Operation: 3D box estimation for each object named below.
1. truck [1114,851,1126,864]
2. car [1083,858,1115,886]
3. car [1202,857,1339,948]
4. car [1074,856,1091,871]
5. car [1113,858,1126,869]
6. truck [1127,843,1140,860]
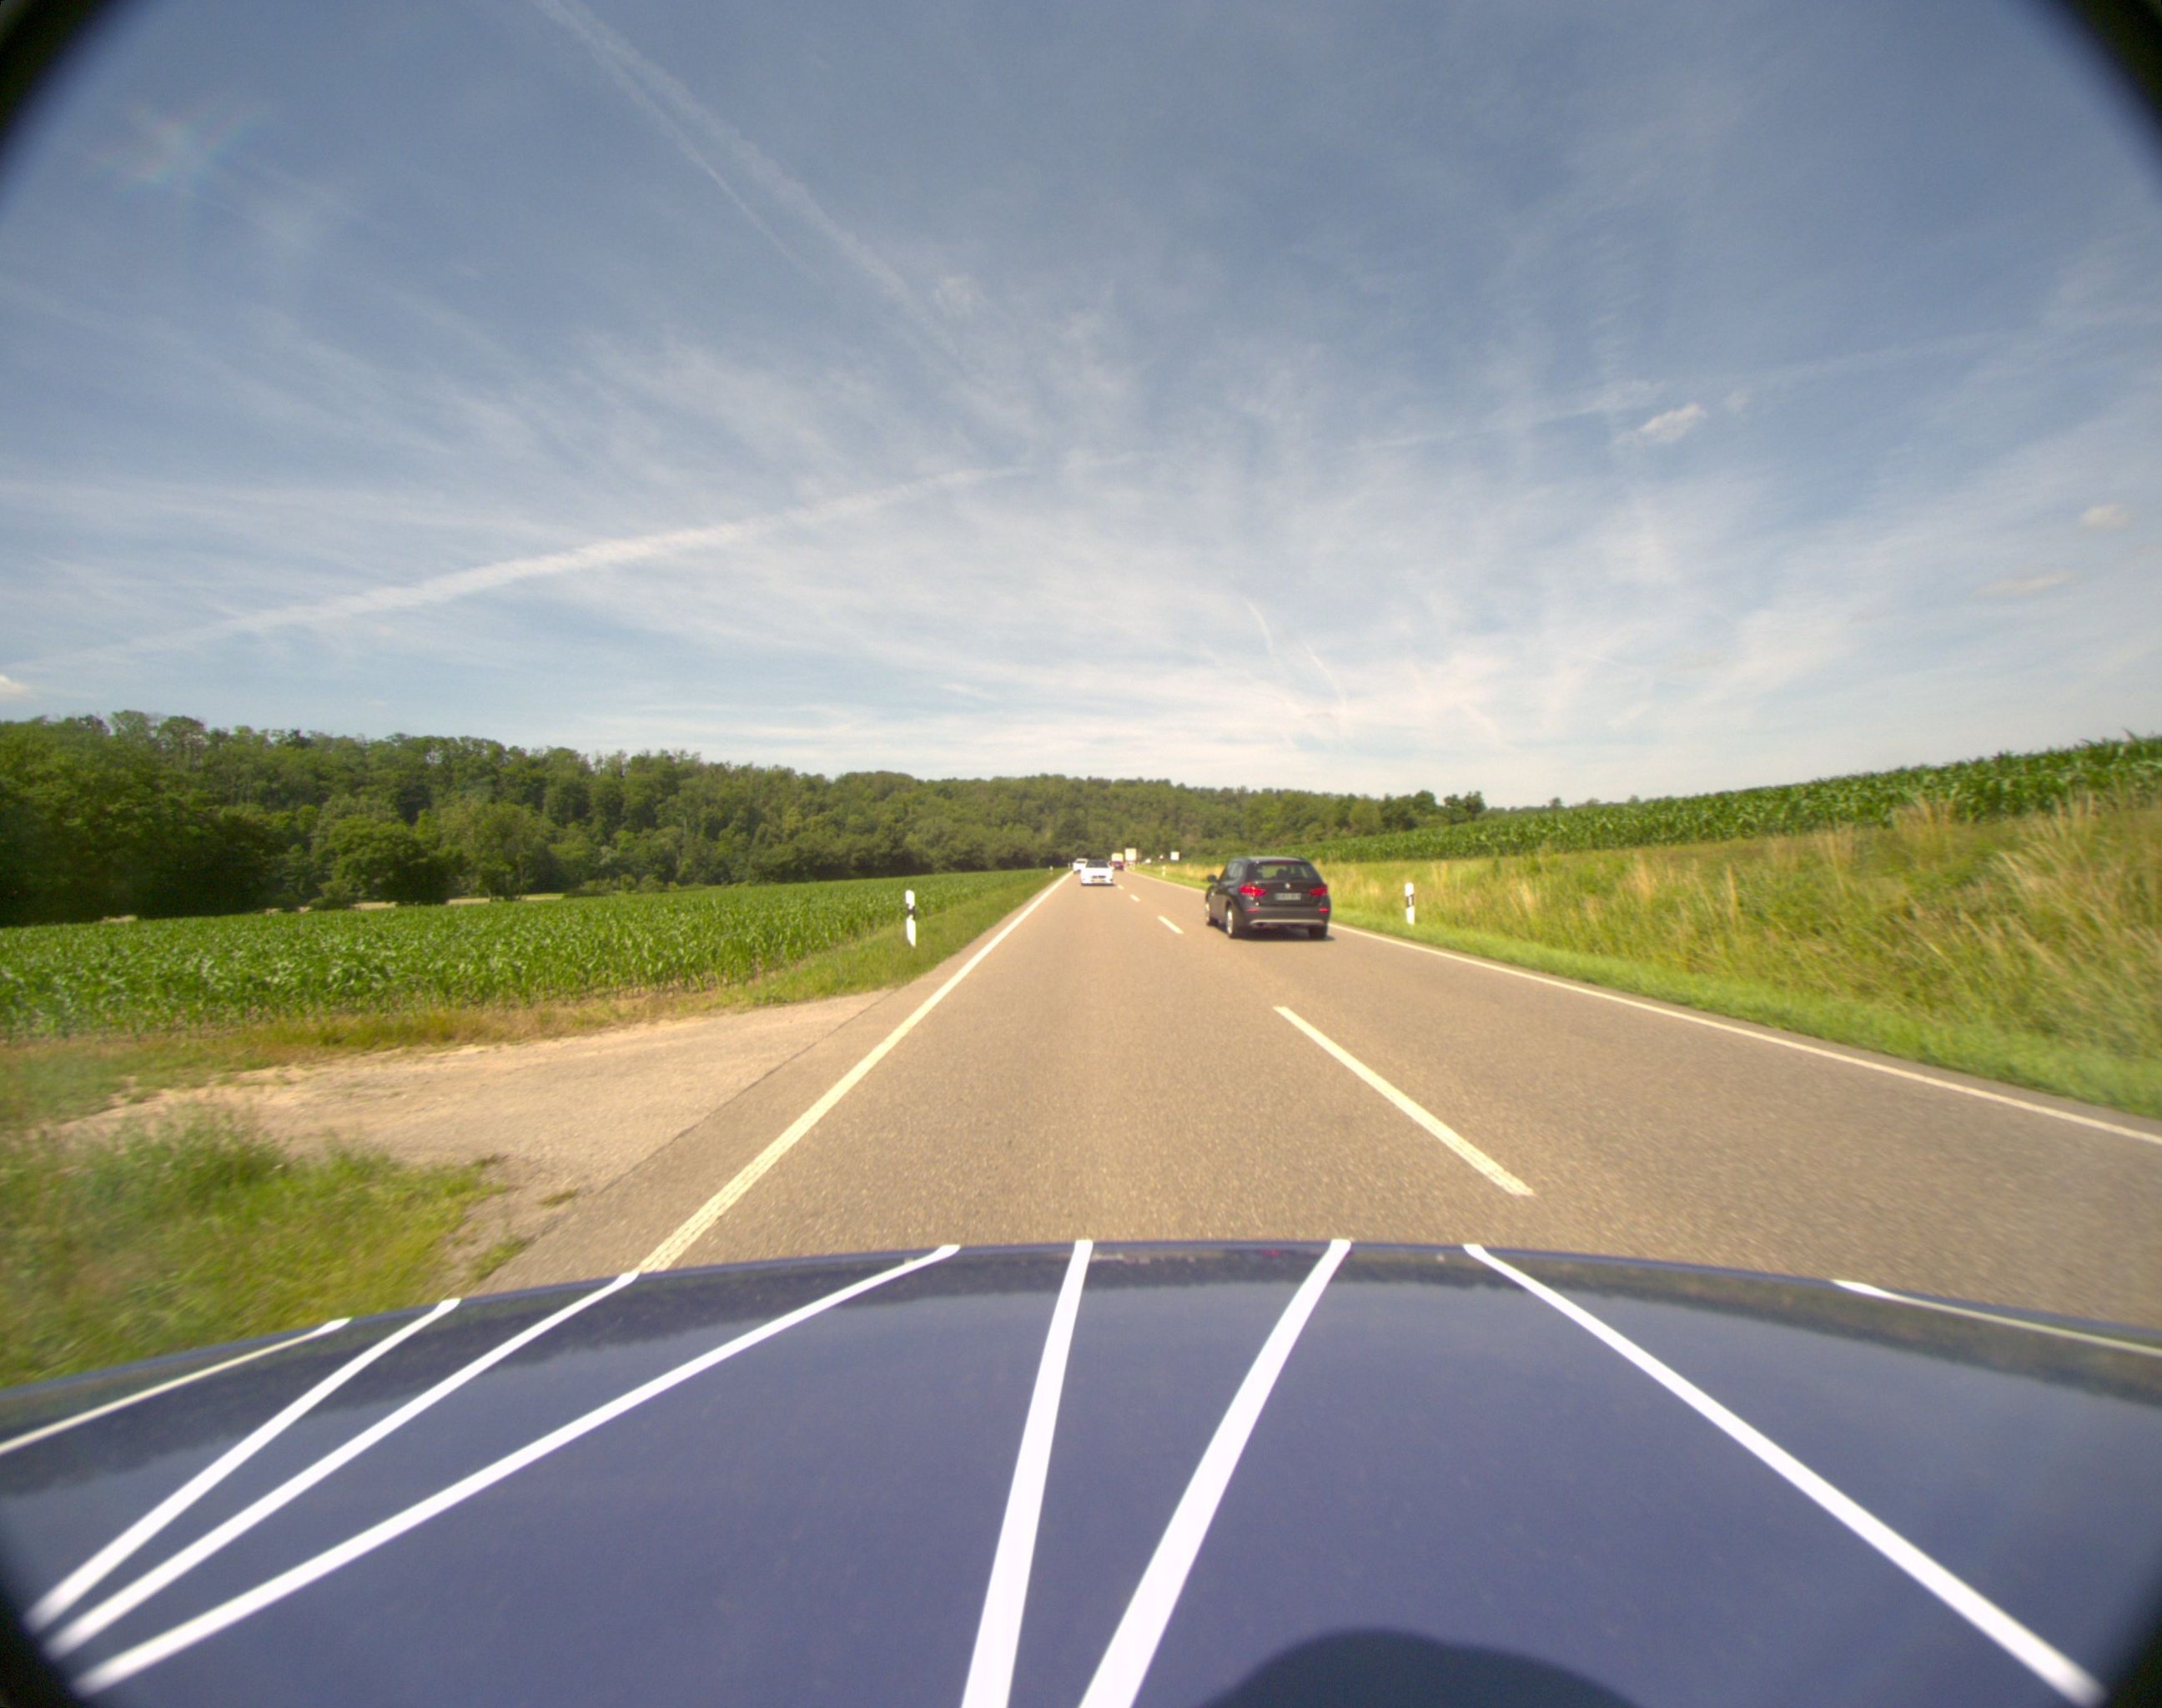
[{"bbox_3d":[8.340,0.760,161.047,2.213,2.656,6.416,1,0,0],"label":"truck"},{"bbox_3d":[1.011,1.024,43.936,1.743,1.445,4.035,0,1,0],"label":"car"},{"bbox_3d":[3.561,0.845,15.068,1.660,1.525,4.358,0,-1,1],"label":"car"},{"bbox_3d":[0.222,0.980,80.000,1.717,1.523,3.999,0,1,1],"label":"car"},{"bbox_3d":[5.535,1.352,108.502,1.677,1.448,4.351,1,0,1],"label":"car"},{"bbox_3d":[13.359,-0.581,193.139,2.833,3.969,16.539,1,0,5],"label":"truck"}]
